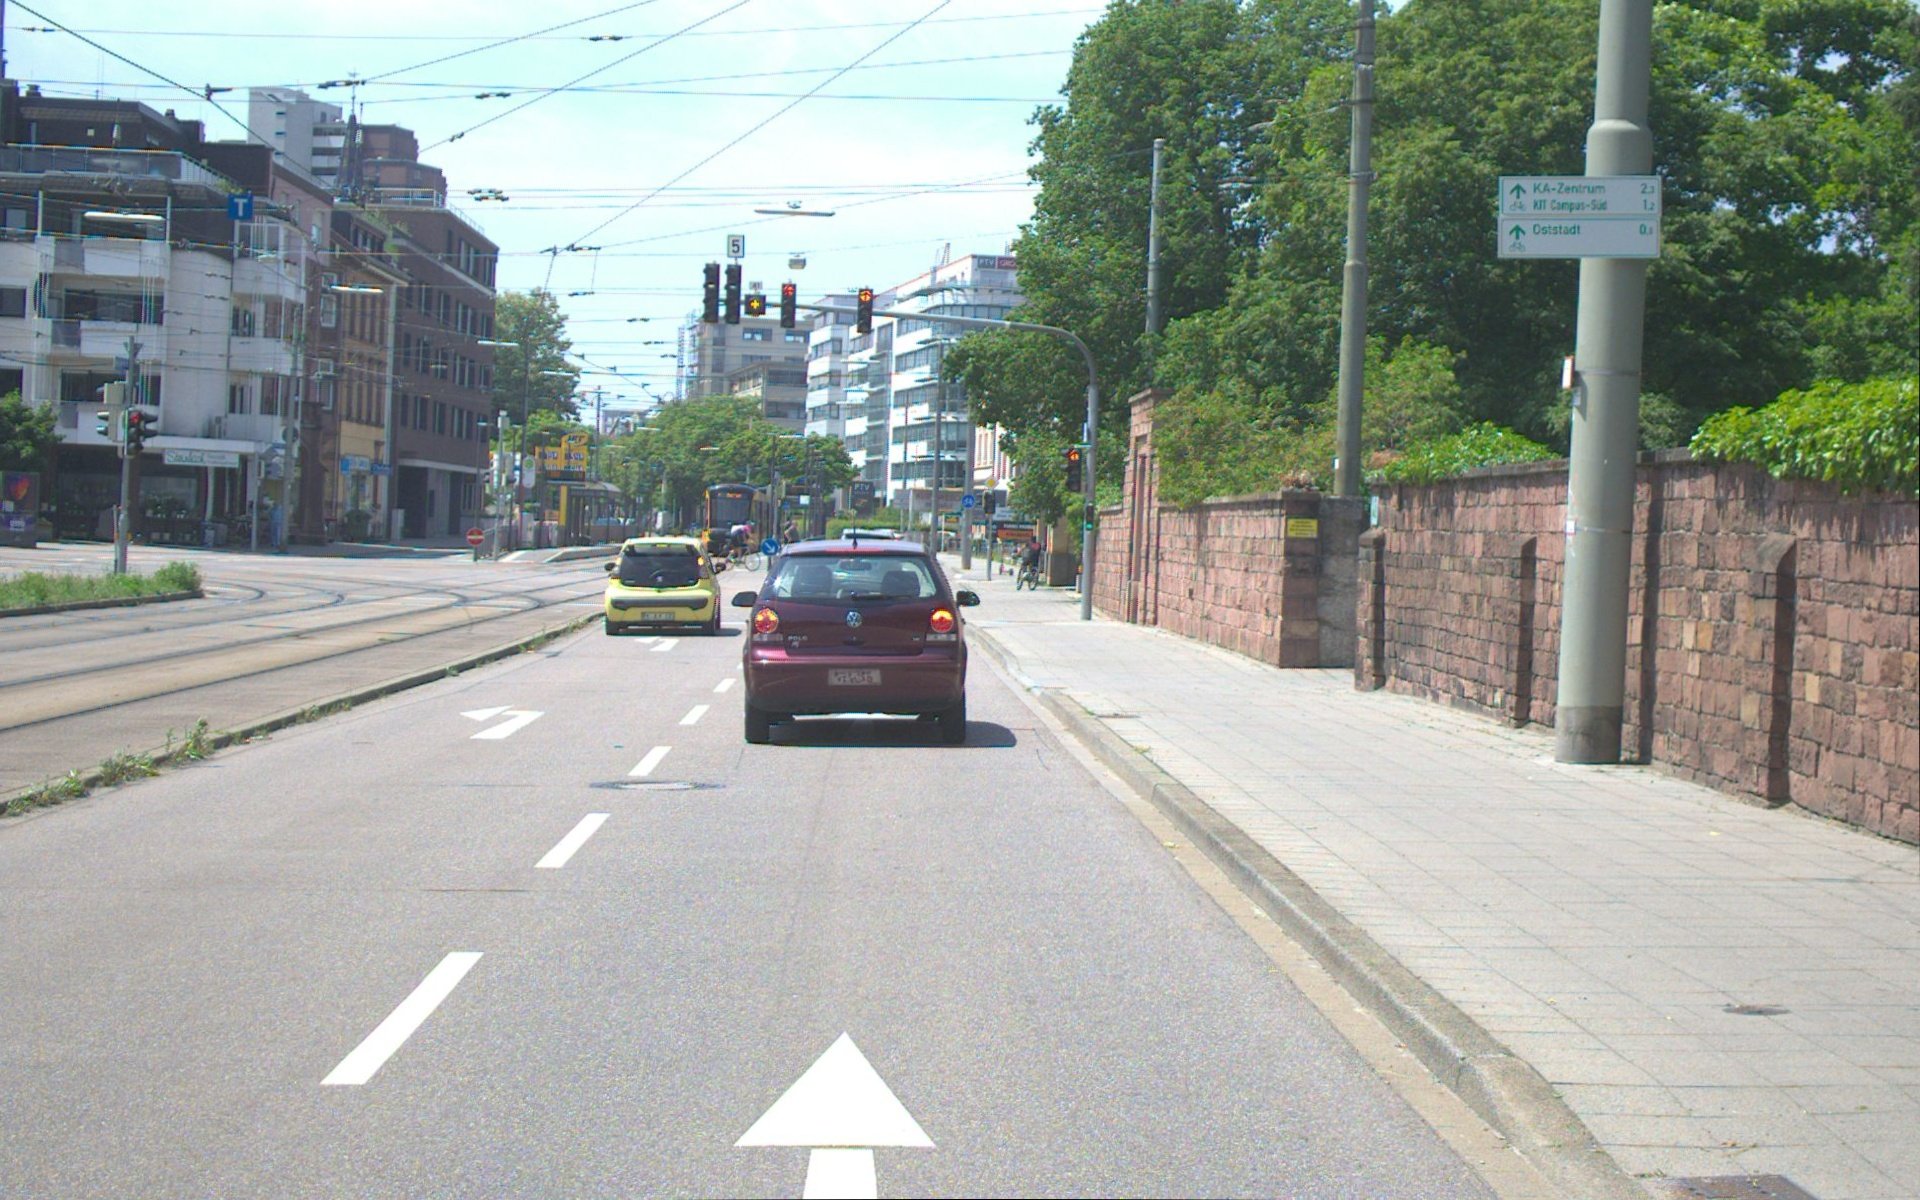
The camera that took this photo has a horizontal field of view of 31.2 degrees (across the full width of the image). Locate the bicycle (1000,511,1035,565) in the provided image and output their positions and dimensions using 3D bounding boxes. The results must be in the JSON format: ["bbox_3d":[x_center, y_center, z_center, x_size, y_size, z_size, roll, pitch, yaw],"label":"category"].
[{"bbox_3d":[1.685,-1.802,101.339,0.835,1.520,4.000,1,0,-1],"label":"bicycle"}]

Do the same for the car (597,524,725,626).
[{"bbox_3d":[-4.453,-0.398,51.559,1.723,1.440,3.293,1,2,-2],"label":"car"}]

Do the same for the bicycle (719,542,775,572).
[{"bbox_3d":[-7.251,-1.460,117.030,1.865,1.004,0.579,1,0,-5],"label":"bicycle"}]

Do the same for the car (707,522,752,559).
[{"bbox_3d":[-10.935,-2.816,163.510,1.938,1.635,4.000,1,0,-2],"label":"car"}]

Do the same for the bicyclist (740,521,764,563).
[{"bbox_3d":[-7.086,-1.972,117.064,0.765,1.401,0.506,1,0,-5],"label":"bicyclist"}]

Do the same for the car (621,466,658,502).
[{"bbox_3d":[-18.692,-6.774,200.708,1.735,2.007,4.000,2,1,-1],"label":"car"}]

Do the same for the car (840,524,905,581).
[{"bbox_3d":[-2.208,-1.205,86.380,1.572,1.411,3.720,0,1,-2],"label":"car"}]

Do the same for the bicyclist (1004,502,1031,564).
[{"bbox_3d":[1.706,-1.973,101.311,0.721,1.812,0.888,1,0,-1],"label":"bicyclist"}]

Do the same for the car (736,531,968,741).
[{"bbox_3d":[-0.812,0.215,26.052,1.610,1.458,4.086,0,1,-2],"label":"car"}]
